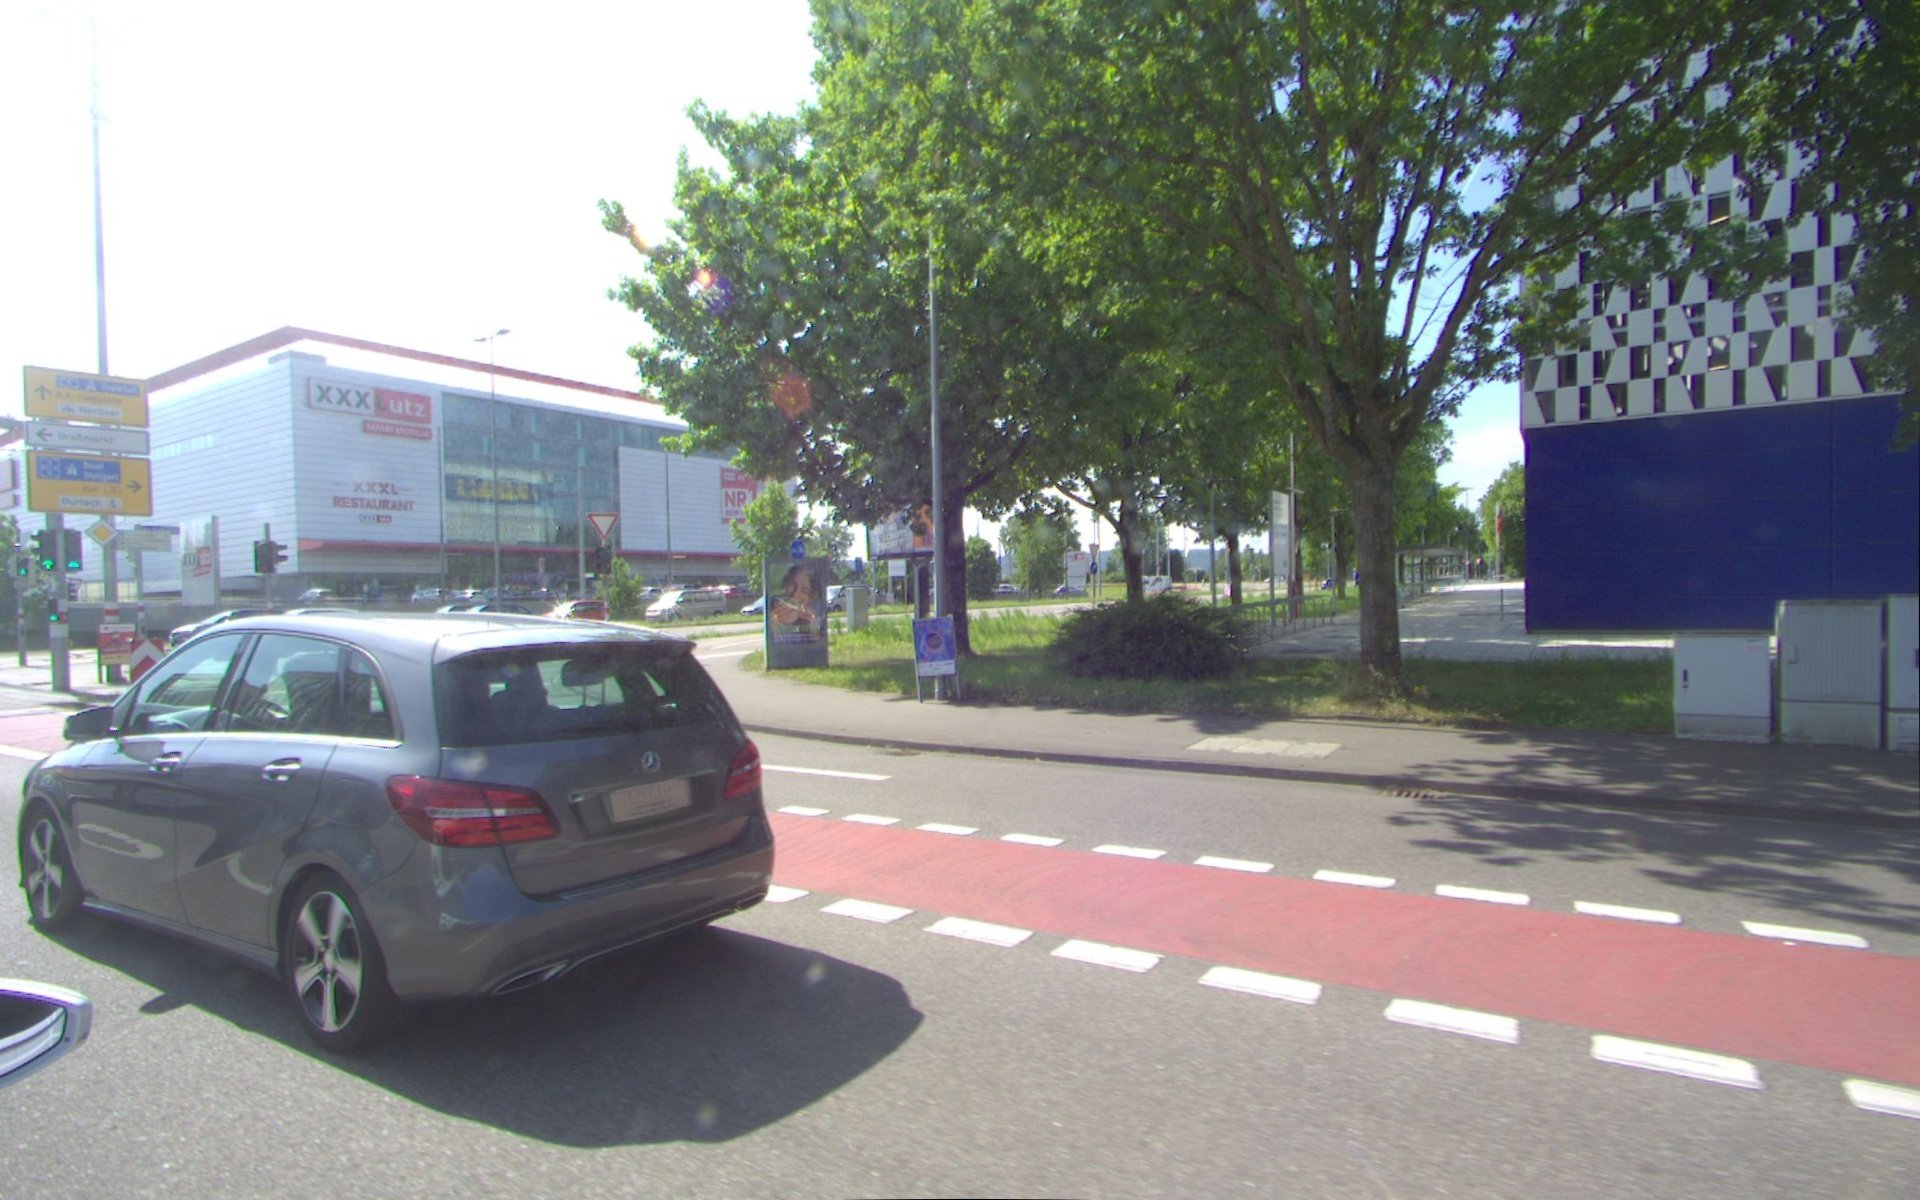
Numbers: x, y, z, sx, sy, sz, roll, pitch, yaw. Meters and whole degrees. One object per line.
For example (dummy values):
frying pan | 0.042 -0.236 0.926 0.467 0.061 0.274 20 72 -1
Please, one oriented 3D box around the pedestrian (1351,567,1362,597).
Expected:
pedestrian | 27.748 -1.227 70.067 0.670 2.039 0.600 -1 -2 18

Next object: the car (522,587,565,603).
car | -40.786 -0.499 98.060 4.143 1.439 1.895 -1 0 35

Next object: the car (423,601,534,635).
car | -20.820 0.753 43.440 1.701 1.360 4.032 -2 0 34

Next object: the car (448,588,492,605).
car | -44.773 -0.308 91.460 4.143 1.439 1.826 -1 0 35

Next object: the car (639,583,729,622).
car | -15.398 0.114 56.050 1.937 2.001 4.658 -3 0 35

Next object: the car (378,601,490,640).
car | -23.484 0.902 44.836 1.883 1.528 4.015 -2 0 35

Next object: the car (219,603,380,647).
car | -24.983 0.922 38.046 1.933 1.444 4.701 -2 0 35

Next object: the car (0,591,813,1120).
car | -2.851 0.786 4.785 4.077 1.559 1.771 0 -1 31

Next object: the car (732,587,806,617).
car | -10.884 0.100 57.257 1.662 1.641 4.102 -1 0 37

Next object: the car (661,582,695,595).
car | -33.544 -1.361 119.107 4.143 1.439 1.679 -1 0 35

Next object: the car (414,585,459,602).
car | -46.853 -0.613 89.546 3.950 1.439 1.795 -1 0 32

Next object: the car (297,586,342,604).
car | -55.142 -0.409 86.199 4.143 1.439 1.765 -1 0 35

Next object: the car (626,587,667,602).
car | -30.261 -0.535 96.565 4.054 1.439 1.679 -1 0 35

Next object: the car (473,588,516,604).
car | -43.758 -0.396 94.136 4.143 1.439 1.866 -1 0 35

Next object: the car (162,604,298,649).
car | -28.137 0.978 38.686 1.785 1.579 3.871 -1 0 36

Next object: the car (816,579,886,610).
car | -7.304 -0.369 67.510 1.890 1.961 4.757 -2 -1 37

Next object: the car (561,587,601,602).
car | -38.604 -0.523 101.902 4.143 1.439 1.799 -1 0 35

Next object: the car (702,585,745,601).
car | -23.092 -0.662 97.921 4.051 1.439 1.784 -1 0 33

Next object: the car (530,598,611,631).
car | -19.458 0.704 50.094 1.578 1.597 3.458 -1 0 36

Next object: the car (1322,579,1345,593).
car | 43.096 -1.640 115.472 1.618 1.556 3.893 -1 0 34
